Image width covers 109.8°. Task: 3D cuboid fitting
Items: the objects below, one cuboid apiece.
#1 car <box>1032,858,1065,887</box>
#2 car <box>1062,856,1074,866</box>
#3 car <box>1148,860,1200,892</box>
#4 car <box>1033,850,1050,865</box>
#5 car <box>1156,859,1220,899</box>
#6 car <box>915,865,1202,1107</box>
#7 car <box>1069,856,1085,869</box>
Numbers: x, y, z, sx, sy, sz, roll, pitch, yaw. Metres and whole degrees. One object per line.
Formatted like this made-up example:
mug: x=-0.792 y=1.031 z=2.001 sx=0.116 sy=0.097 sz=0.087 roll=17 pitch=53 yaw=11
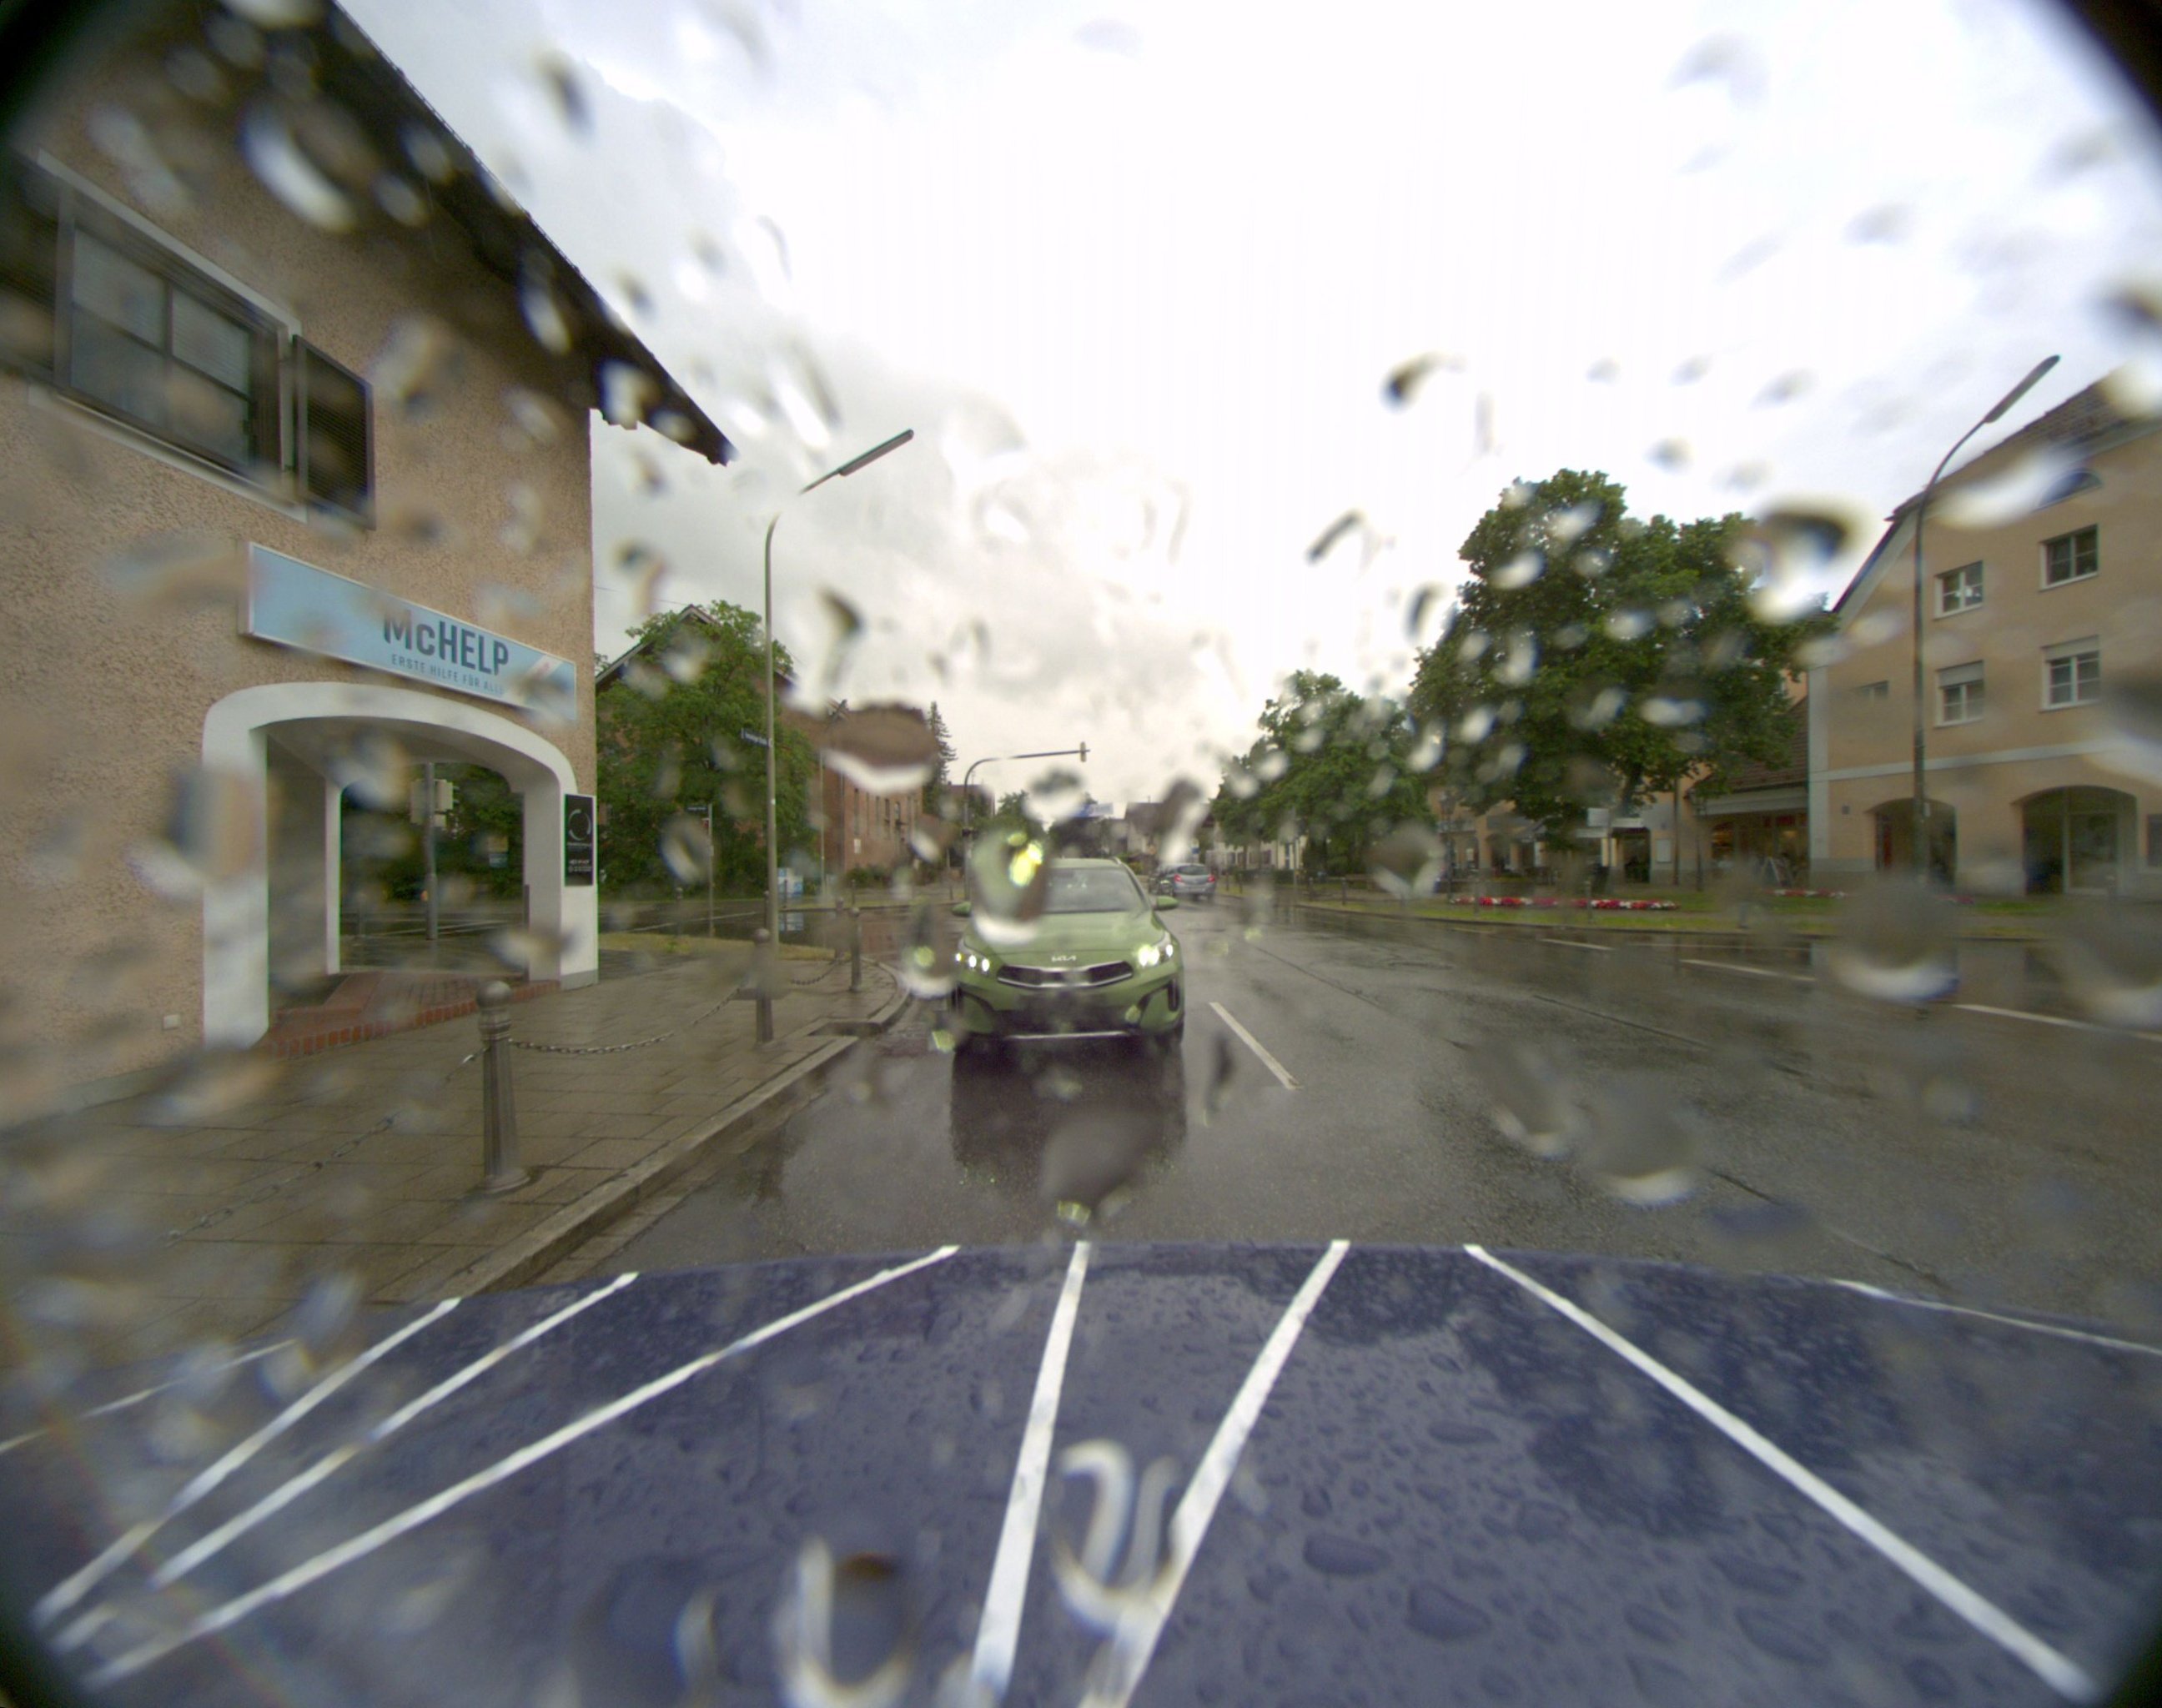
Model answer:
car: x=-1.832 y=0.983 z=42.457 sx=1.736 sy=1.489 sz=4.609 roll=0 pitch=0 yaw=-3
car: x=-2.207 y=1.235 z=129.566 sx=1.810 sy=1.677 sz=3.998 roll=-1 pitch=0 yaw=-4
car: x=4.486 y=1.034 z=37.255 sx=1.873 sy=1.447 sz=4.103 roll=-1 pitch=0 yaw=-2
car: x=-5.390 y=0.525 z=102.995 sx=2.218 sy=1.977 sz=4.952 roll=0 pitch=0 yaw=-5
car: x=4.316 y=0.975 z=31.232 sx=1.873 sy=1.447 sz=4.103 roll=-1 pitch=0 yaw=-2
car: x=-0.119 y=0.902 z=7.070 sx=1.872 sy=1.505 sz=4.104 roll=-1 pitch=0 yaw=1
car: x=-0.533 y=1.109 z=102.670 sx=1.810 sy=1.677 sz=3.998 roll=-1 pitch=0 yaw=-4
